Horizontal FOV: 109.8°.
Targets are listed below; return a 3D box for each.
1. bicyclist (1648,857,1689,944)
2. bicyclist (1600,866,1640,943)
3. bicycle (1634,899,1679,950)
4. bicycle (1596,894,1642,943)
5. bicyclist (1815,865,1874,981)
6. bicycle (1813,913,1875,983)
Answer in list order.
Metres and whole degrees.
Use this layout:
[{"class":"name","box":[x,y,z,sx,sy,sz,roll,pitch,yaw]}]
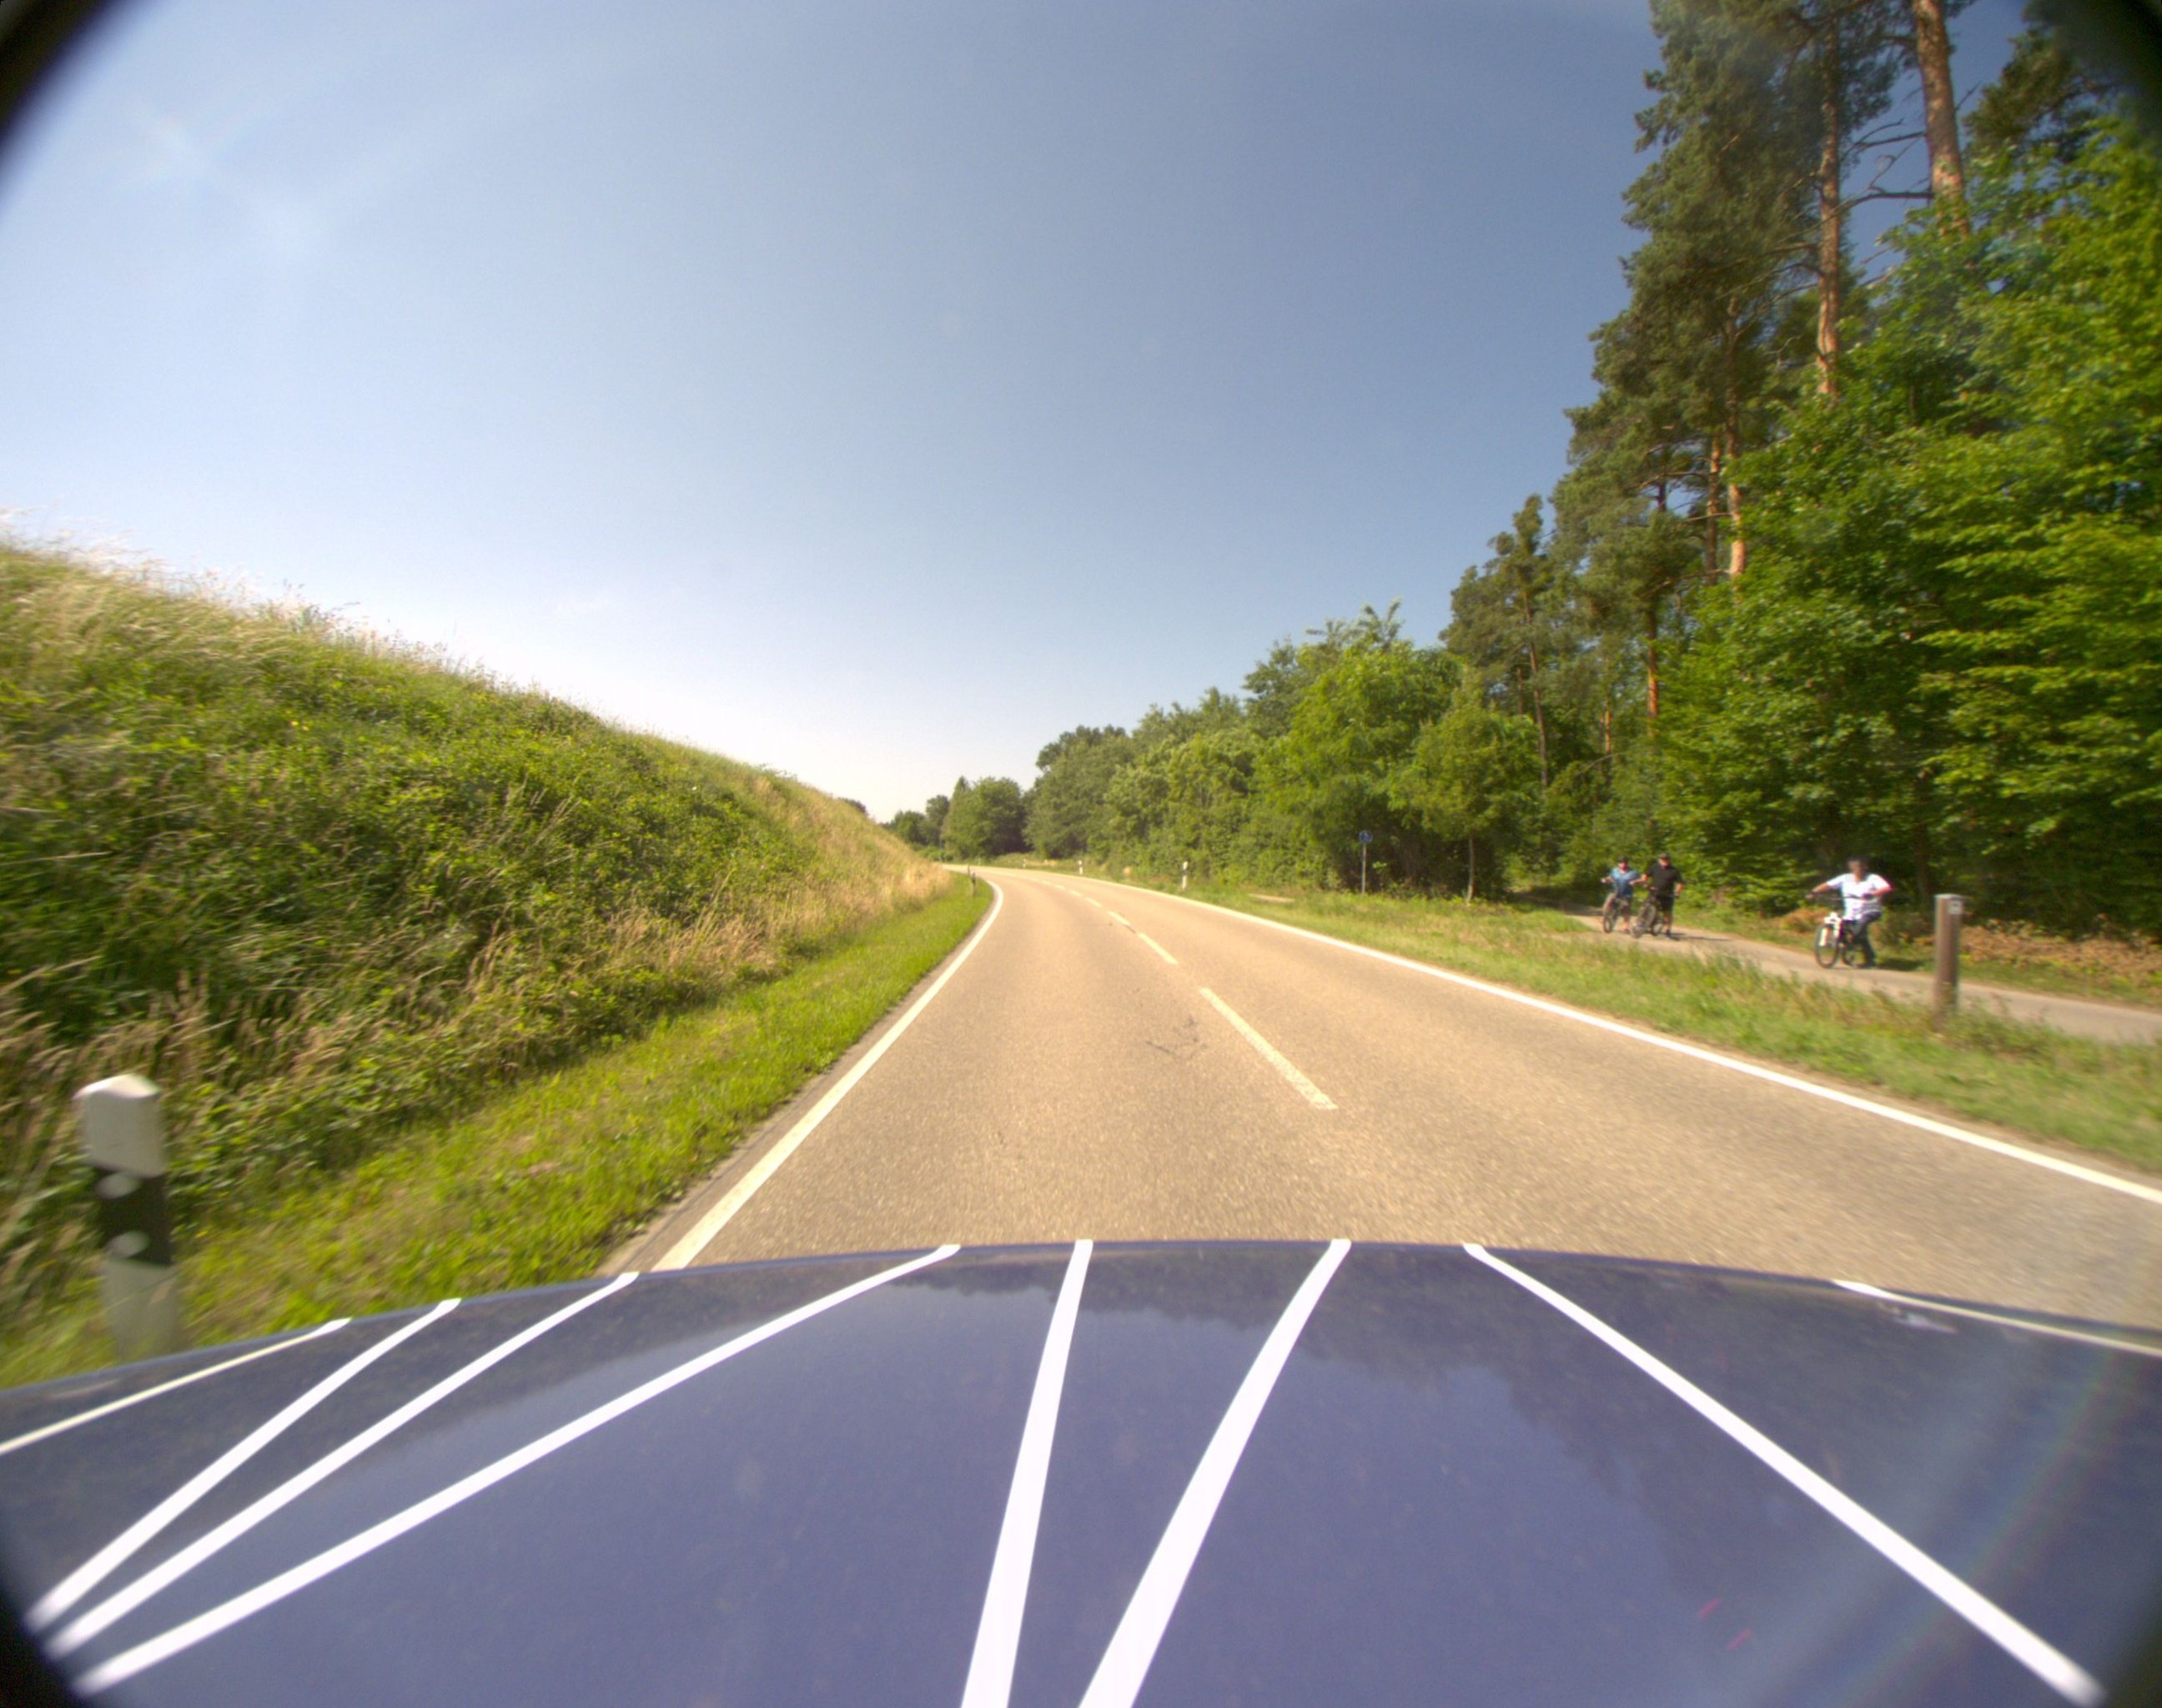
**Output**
[{"class":"bicyclist","box":[11.960,0.922,15.467,0.604,1.691,0.852,0,2,41]},{"class":"bicyclist","box":[11.471,1.048,16.166,0.604,1.536,0.873,0,2,41]},{"class":"bicycle","box":[11.826,1.420,15.594,0.604,0.825,1.989,0,2,41]},{"class":"bicycle","box":[11.475,1.342,16.183,0.604,0.825,1.989,0,2,41]},{"class":"bicyclist","box":[11.959,1.048,11.896,0.791,1.709,0.604,-3,2,-42]},{"class":"bicycle","box":[11.954,1.430,11.886,1.989,0.825,0.604,-2,2,-42]}]
